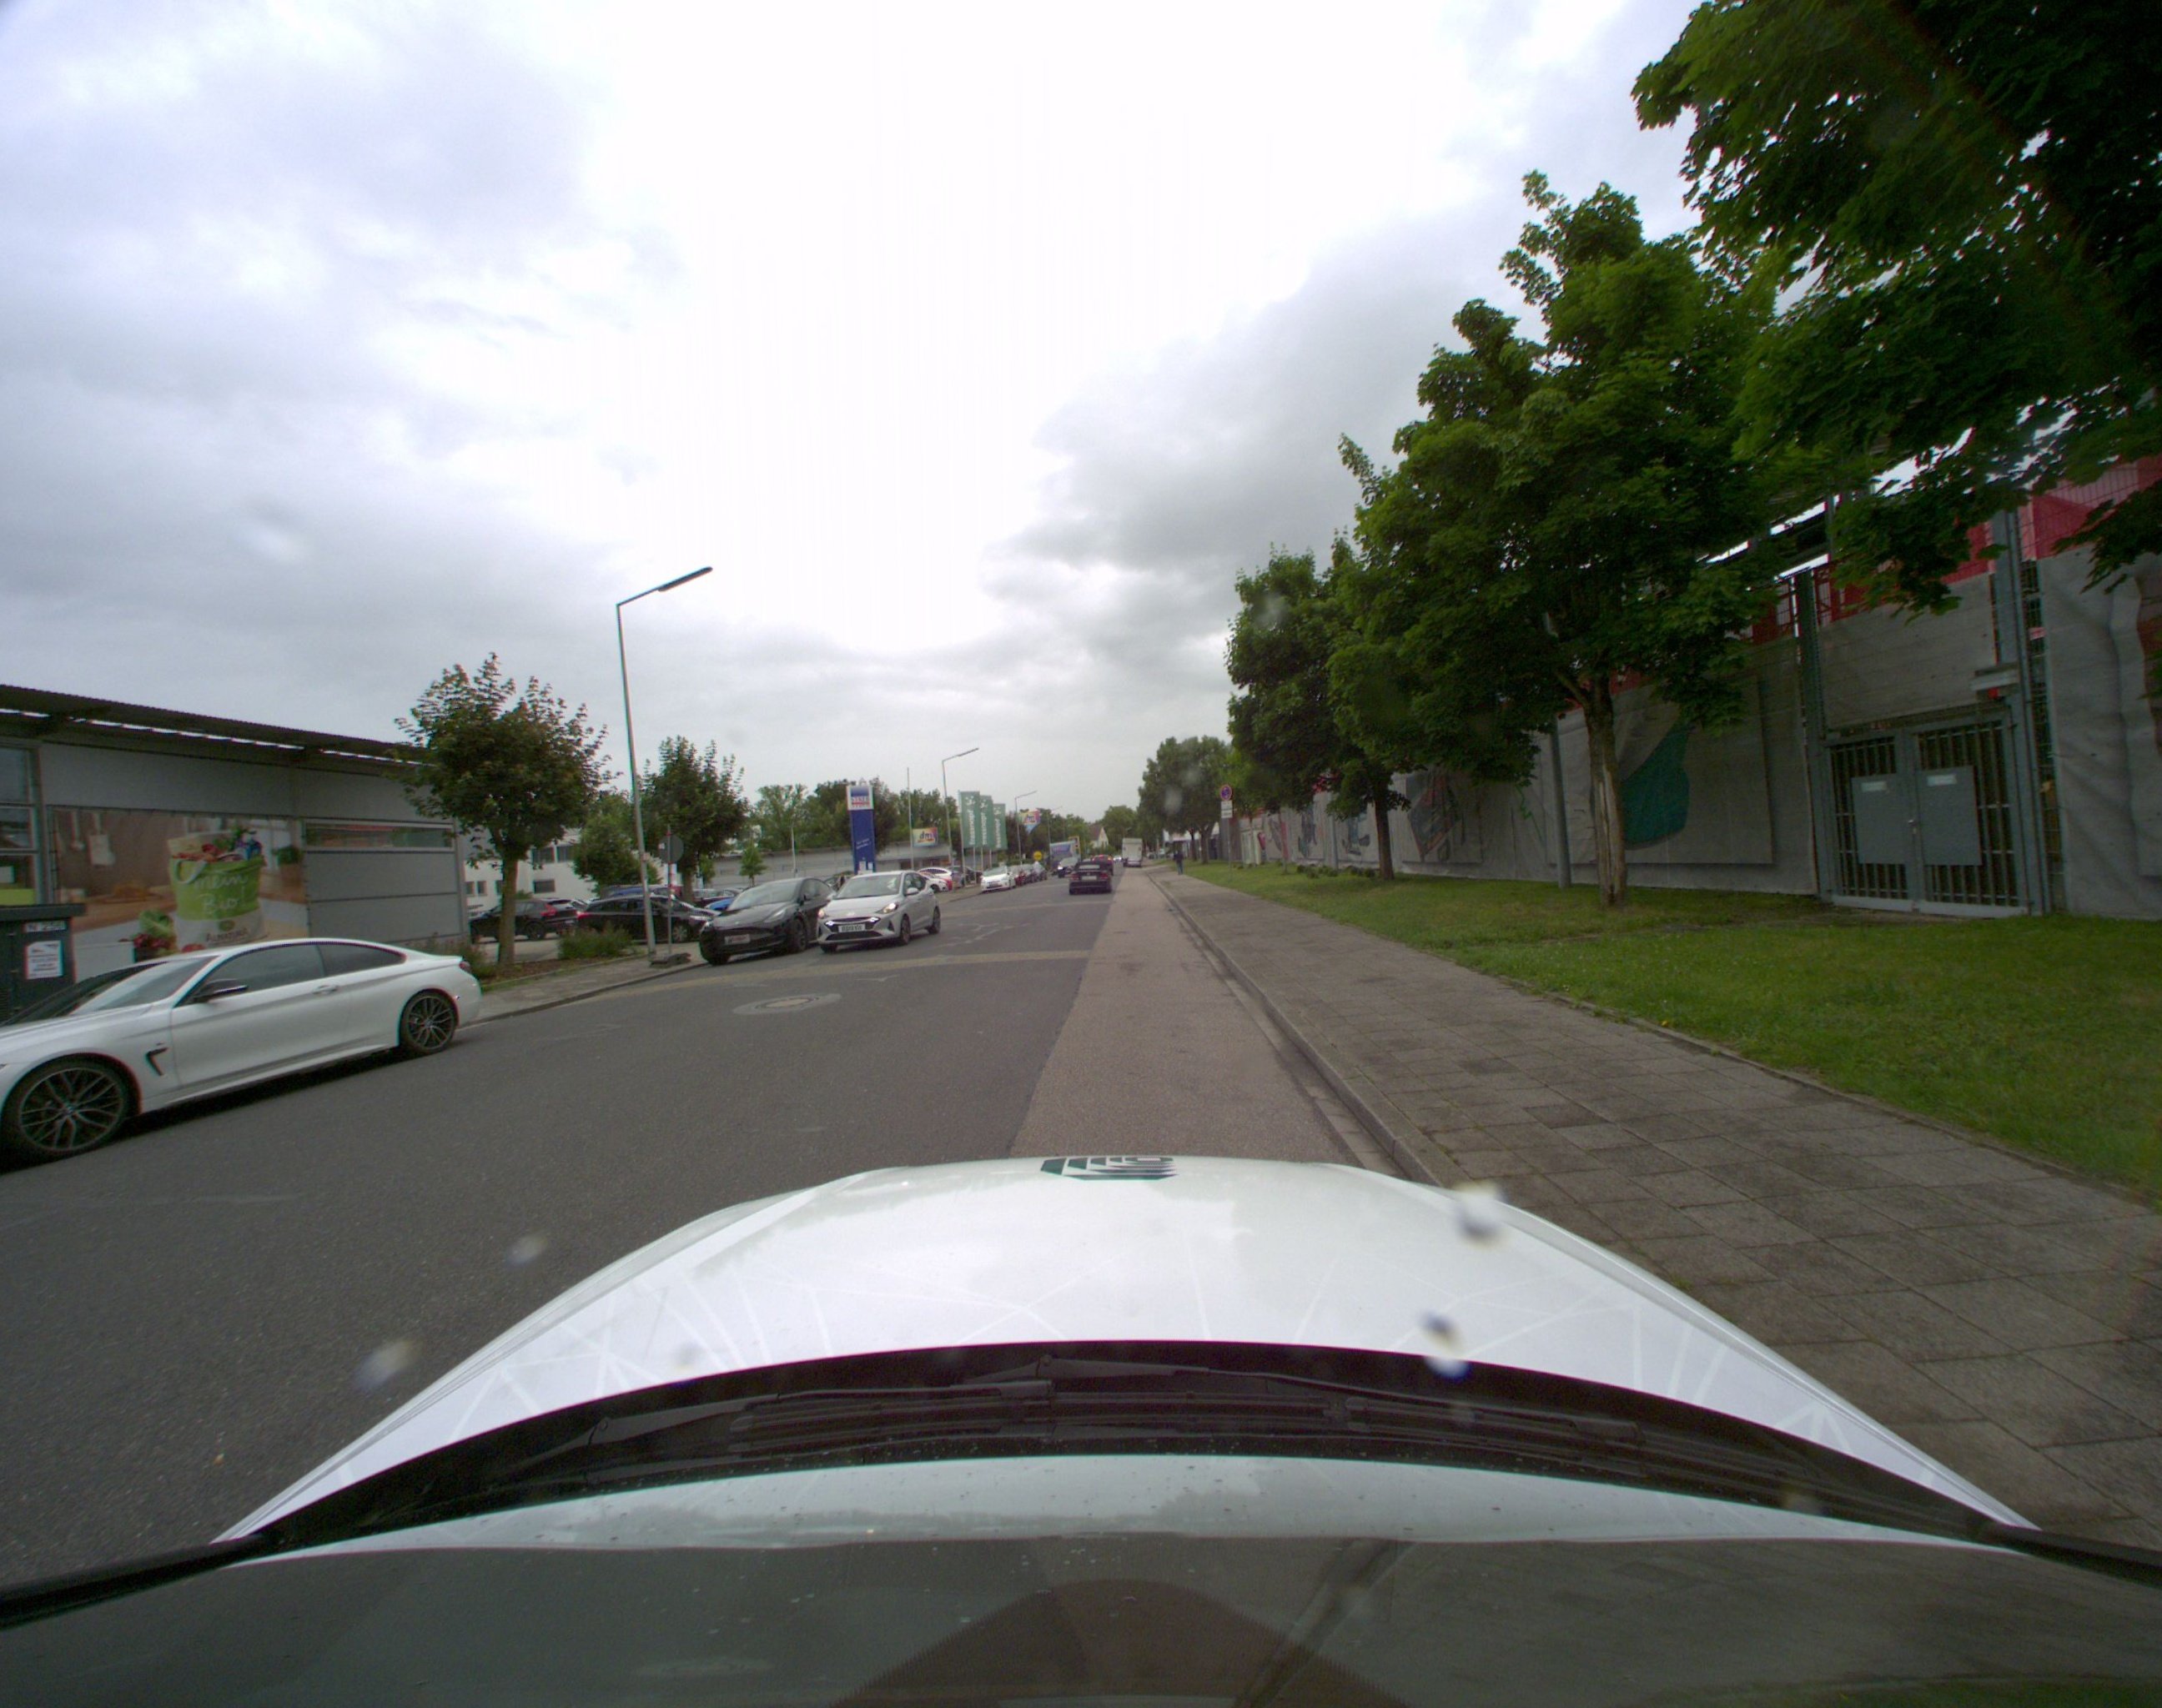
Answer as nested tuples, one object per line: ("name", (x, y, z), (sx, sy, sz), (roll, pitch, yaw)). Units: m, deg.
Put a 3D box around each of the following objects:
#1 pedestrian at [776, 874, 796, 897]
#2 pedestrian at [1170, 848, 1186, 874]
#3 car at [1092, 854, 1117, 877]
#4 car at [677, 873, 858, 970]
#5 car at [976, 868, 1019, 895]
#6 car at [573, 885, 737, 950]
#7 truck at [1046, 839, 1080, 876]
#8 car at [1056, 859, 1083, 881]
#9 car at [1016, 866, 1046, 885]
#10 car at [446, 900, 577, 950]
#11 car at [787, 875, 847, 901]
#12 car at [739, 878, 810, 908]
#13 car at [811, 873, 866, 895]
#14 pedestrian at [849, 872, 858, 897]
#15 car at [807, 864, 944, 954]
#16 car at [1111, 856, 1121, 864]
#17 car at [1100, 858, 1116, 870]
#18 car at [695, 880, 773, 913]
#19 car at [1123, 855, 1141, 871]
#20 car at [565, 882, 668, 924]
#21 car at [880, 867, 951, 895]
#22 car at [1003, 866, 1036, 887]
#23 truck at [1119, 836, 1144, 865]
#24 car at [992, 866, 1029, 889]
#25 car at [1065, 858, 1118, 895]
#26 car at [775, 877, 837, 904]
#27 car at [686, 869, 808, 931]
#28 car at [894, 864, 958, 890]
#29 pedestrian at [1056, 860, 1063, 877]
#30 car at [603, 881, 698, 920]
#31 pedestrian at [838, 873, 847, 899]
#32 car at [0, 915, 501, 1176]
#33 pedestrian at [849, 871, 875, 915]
("pedestrian", (-27.678, 2.989, 76.383), (1.394, 2.013, 1.197), (-4, -1, -37))
("pedestrian", (6.279, 0.444, 52.663), (0.914, 1.635, 0.854), (-3, -1, 5))
("car", (1.782, 0.892, 63.024), (1.675, 1.632, 3.758), (-5, 0, 0))
("car", (-6.644, 1.357, 17.903), (1.940, 1.526, 4.405), (-9, -1, 2))
("car", (-5.128, 1.673, 50.538), (1.890, 1.367, 4.004), (-4, 0, 4))
("car", (-12.777, 1.881, 24.592), (3.857, 1.620, 1.929), (-3, 0, 3))
("truck", (-2.071, 0.443, 96.134), (2.960, 3.955, 6.411), (-6, -1, 4))
("car", (-0.972, 1.368, 70.511), (1.986, 1.684, 4.002), (-3, -1, 2))
("car", (-4.170, 1.748, 68.527), (1.890, 1.367, 4.004), (-5, 0, 4))
("car", (-22.386, 2.763, 32.201), (4.013, 1.485, 1.858), (-4, 0, -31))
("car", (-20.998, 2.692, 64.860), (3.970, 1.669, 1.878), (-5, 0, 3))
("car", (-21.064, 2.679, 56.069), (3.970, 1.669, 1.878), (-5, 0, 3))
("car", (-20.530, 2.530, 68.900), (3.969, 1.492, 1.788), (-5, -1, 4))
("pedestrian", (-15.001, 2.000, 53.675), (0.359, 1.570, 0.503), (-4, -1, -7))
("car", (-4.143, 1.048, 16.958), (1.592, 1.528, 3.532), (-6, -1, 4))
("car", (7.933, 1.341, 184.568), (1.878, 1.531, 4.259), (-2, 0, 4))
("car", (3.676, 1.374, 110.011), (1.878, 1.531, 4.259), (-2, 0, 4))
("car", (-21.813, 2.671, 51.250), (3.970, 1.669, 1.878), (-5, 0, 3))
("car", (6.314, 1.082, 100.810), (1.986, 1.806, 4.002), (-3, -1, 2))
("car", (-23.374, 2.455, 41.070), (3.970, 1.669, 1.878), (-5, 0, 3))
("car", (-10.720, 1.744, 53.066), (4.195, 1.463, 1.950), (-4, 0, -4))
("car", (-4.670, 1.682, 62.591), (1.890, 1.367, 4.004), (-5, 0, 4))
("truck", (6.748, -0.437, 110.165), (3.123, 3.585, 10.055), (-3, -1, 2))
("car", (-4.912, 1.610, 57.087), (1.890, 1.367, 4.004), (-5, 0, 4))
("car", (0.522, 0.933, 34.913), (1.736, 1.358, 4.145), (-4, -1, 7))
("car", (-21.049, 2.763, 62.403), (3.970, 1.669, 1.878), (-5, 0, 3))
("car", (-13.017, 1.775, 31.941), (3.922, 2.013, 1.759), (-5, -1, -4))
("car", (-11.011, 1.643, 57.974), (4.125, 1.463, 1.897), (-5, -1, -2))
("pedestrian", (-2.256, 1.508, 85.172), (0.628, 1.636, 0.668), (-5, -1, 2))
("car", (-22.967, 2.465, 43.577), (3.970, 1.669, 1.878), (-5, 0, 3))
("pedestrian", (-15.692, 2.094, 53.558), (0.456, 1.642, 0.372), (-4, -1, -14))
("car", (-7.698, 1.510, 7.086), (1.692, 1.367, 4.521), (-9, -1, 3))
("pedestrian", (-8.939, 1.600, 33.261), (0.773, 1.715, 0.696), (-4, -1, -1))
